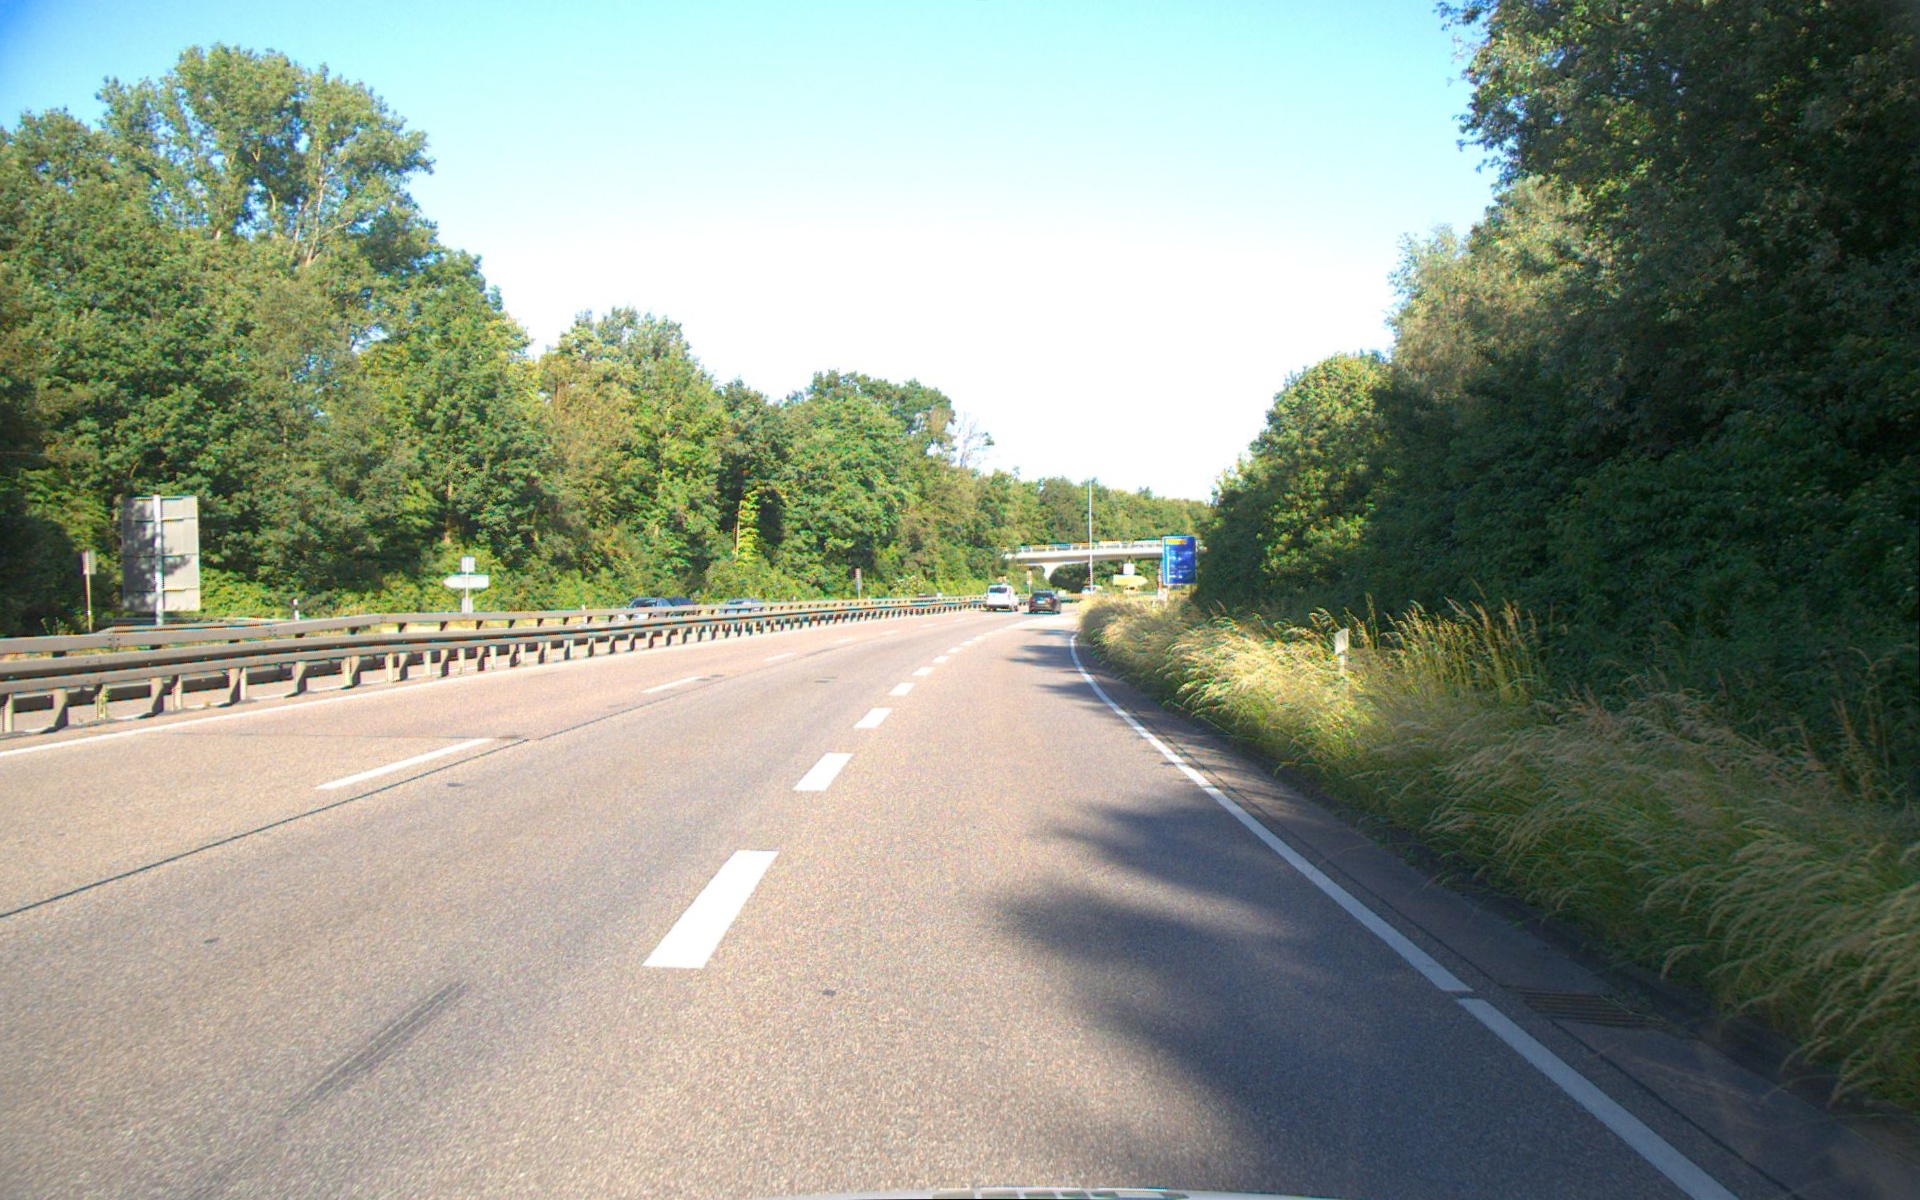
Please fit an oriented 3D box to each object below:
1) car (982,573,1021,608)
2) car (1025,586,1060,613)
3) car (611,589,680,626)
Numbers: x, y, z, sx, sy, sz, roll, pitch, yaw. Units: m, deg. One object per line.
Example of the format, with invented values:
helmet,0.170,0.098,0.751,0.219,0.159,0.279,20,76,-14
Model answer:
car,2.911,-0.645,114.512,1.951,2.317,4.003,0,0,12
car,5.392,-0.045,107.138,1.702,1.691,3.949,0,0,11
car,-14.648,0.313,77.254,1.951,1.678,4.426,0,0,6
